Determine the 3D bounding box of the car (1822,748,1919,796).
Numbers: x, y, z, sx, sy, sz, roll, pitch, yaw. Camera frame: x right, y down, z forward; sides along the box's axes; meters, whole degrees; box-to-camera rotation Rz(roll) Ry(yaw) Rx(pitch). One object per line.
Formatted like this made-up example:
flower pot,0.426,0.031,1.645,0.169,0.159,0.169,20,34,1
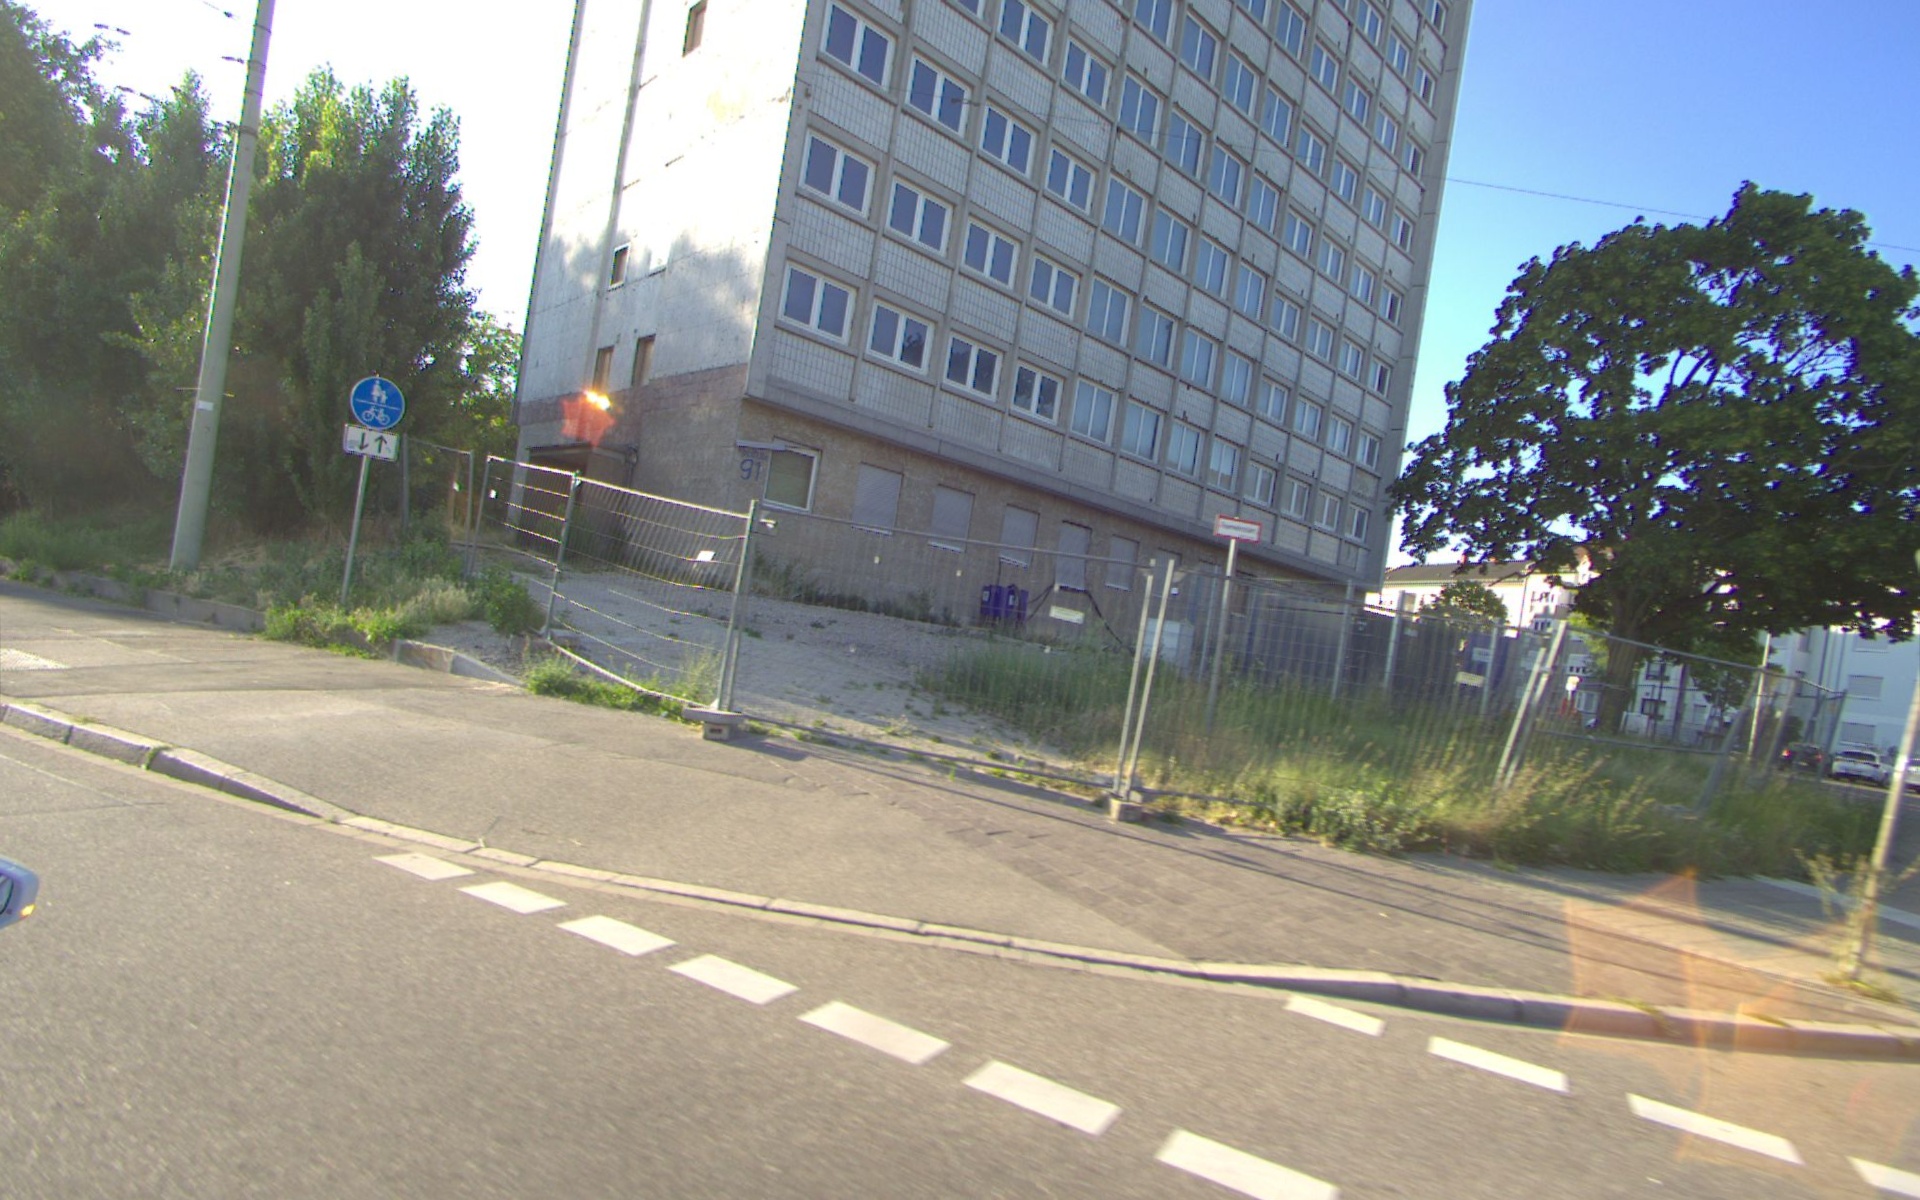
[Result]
car,39.764,7.481,43.503,4.271,1.468,1.700,9,-1,-18

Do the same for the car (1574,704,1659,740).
car,39.204,7.274,60.208,1.677,1.467,4.327,8,-1,-8

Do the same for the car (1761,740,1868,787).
car,39.262,7.521,46.216,4.271,1.468,1.700,9,-1,-18

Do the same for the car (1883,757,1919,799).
car,39.856,7.428,40.722,4.271,1.468,1.700,9,-1,-18
